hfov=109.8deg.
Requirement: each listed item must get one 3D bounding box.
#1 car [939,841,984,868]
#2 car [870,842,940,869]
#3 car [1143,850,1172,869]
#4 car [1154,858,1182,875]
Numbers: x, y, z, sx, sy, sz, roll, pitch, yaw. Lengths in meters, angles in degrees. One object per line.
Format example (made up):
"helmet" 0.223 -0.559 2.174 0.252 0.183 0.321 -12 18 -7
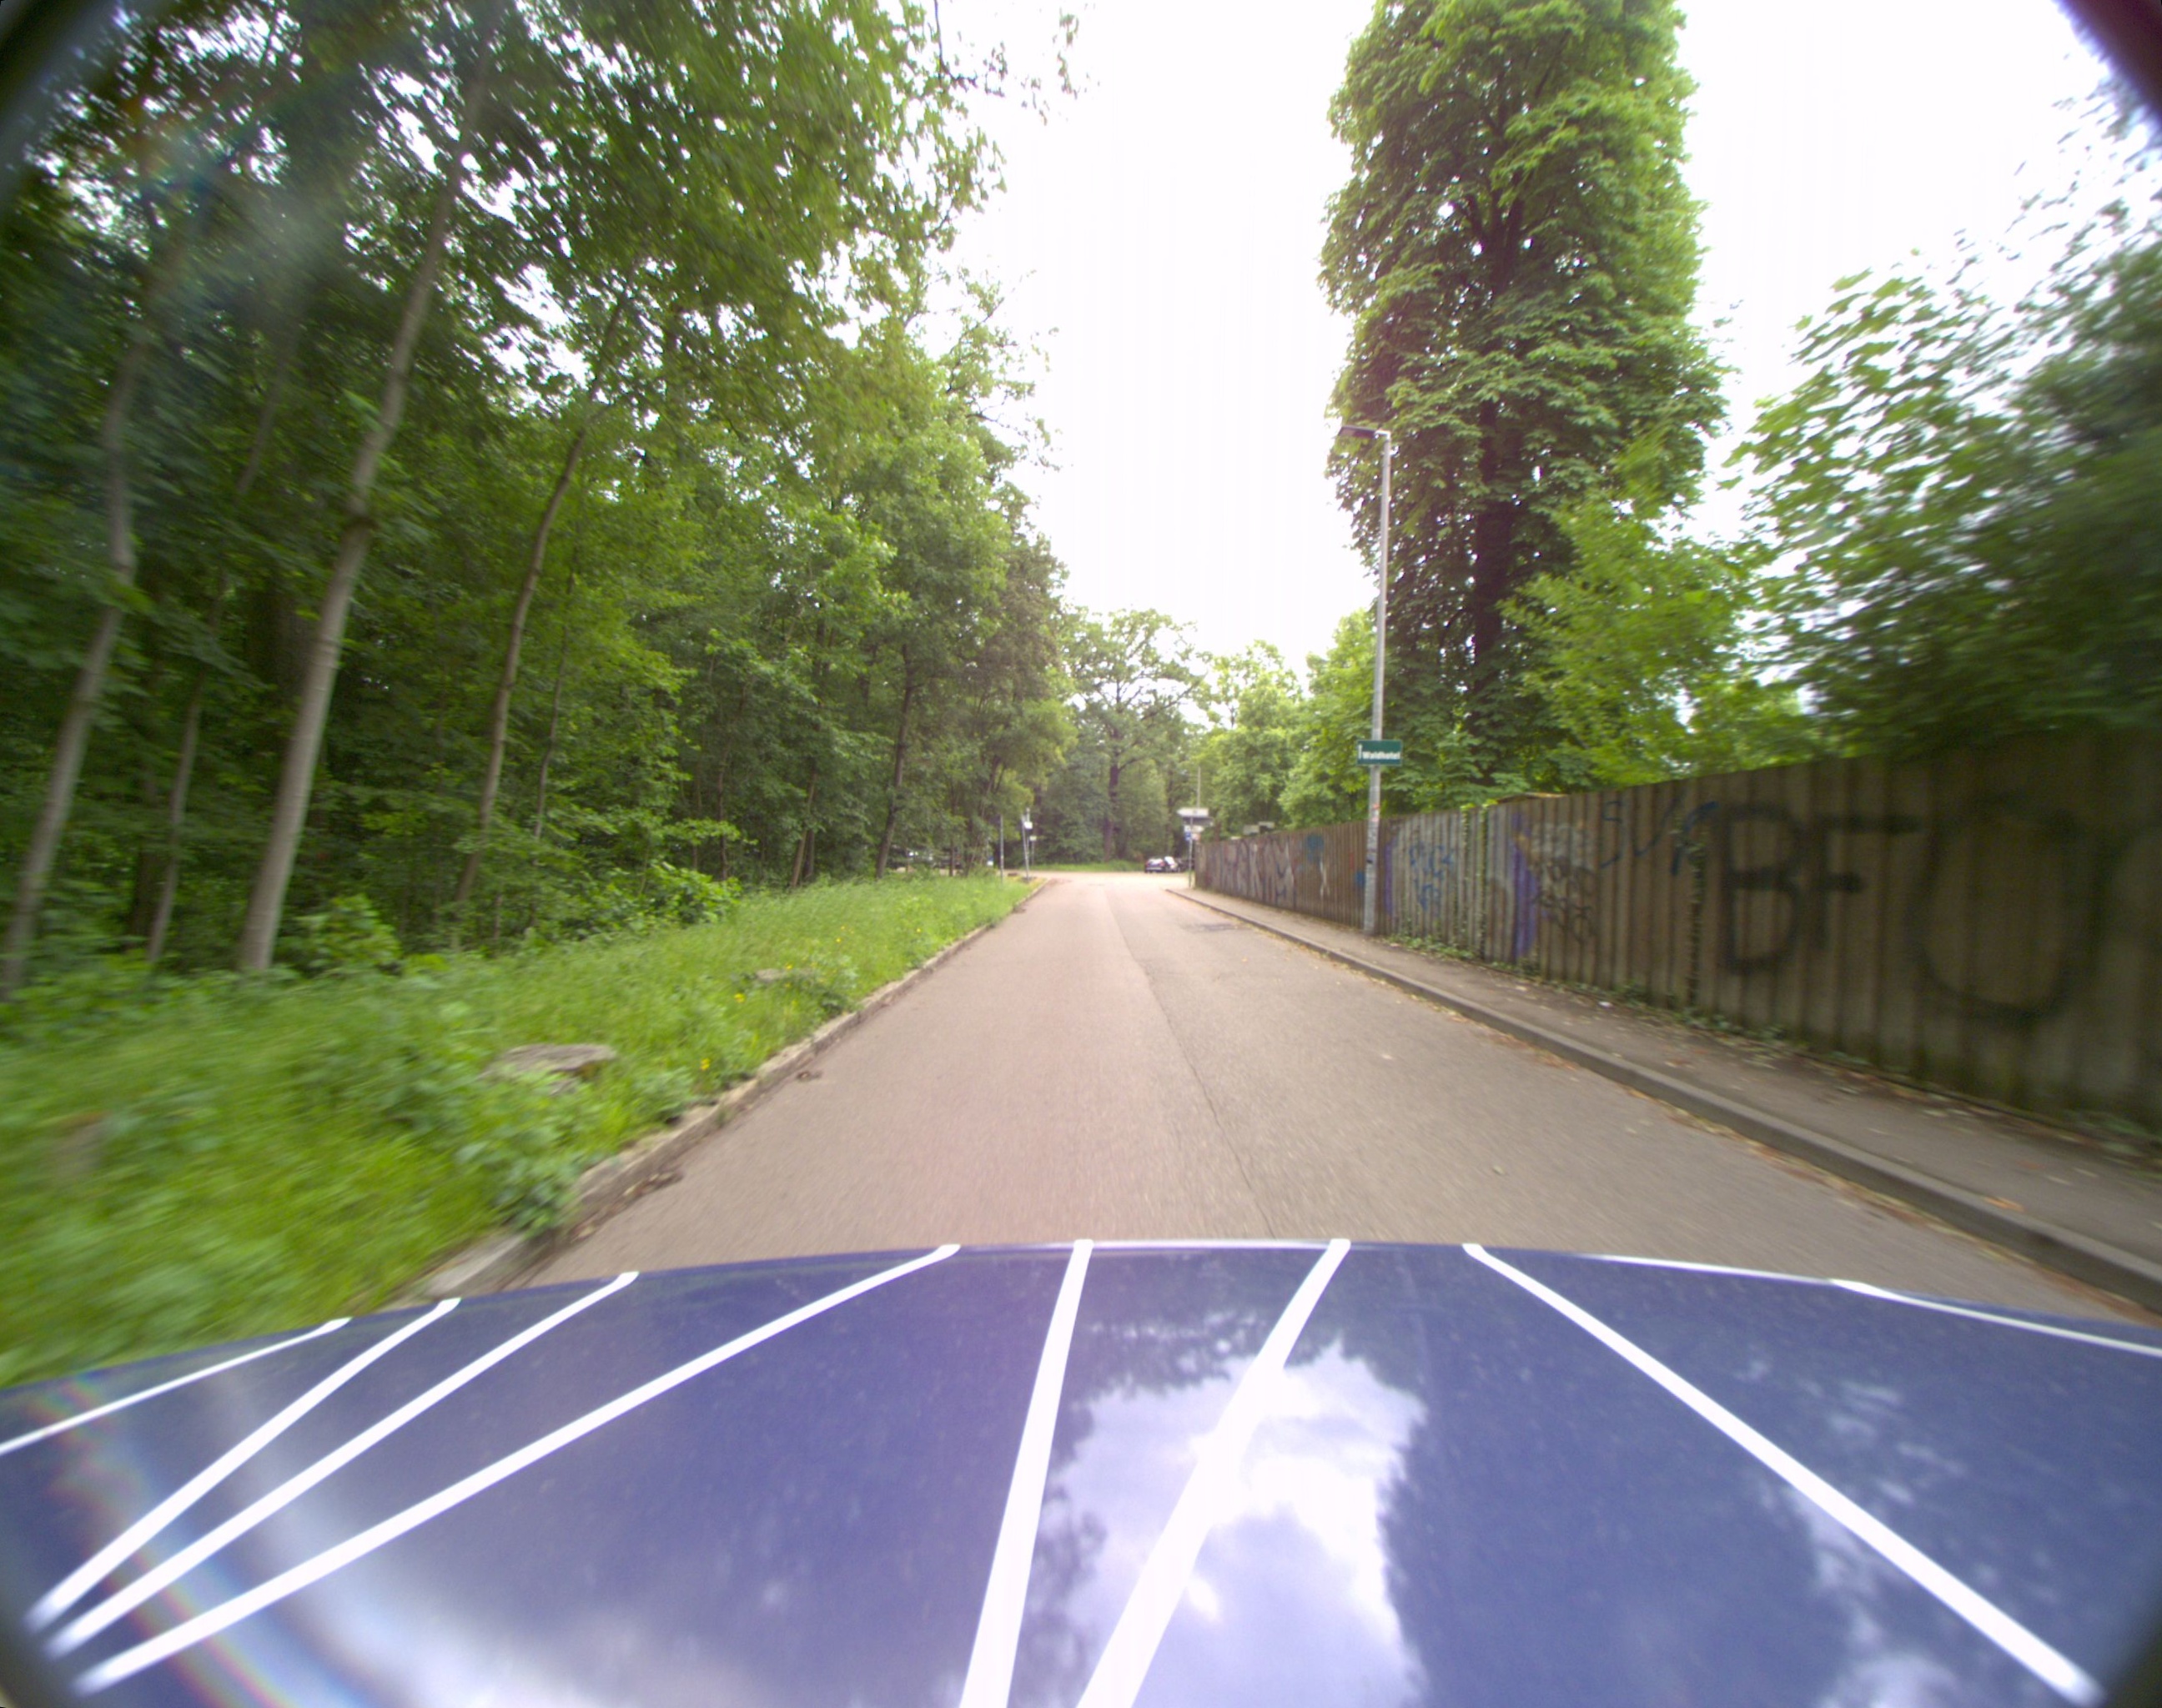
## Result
"car" -9.220 0.044 59.041 1.887 1.966 4.522 1 0 13
"car" -11.599 0.063 50.071 4.092 1.624 1.817 2 2 11
"car" 6.299 0.417 62.406 1.769 1.486 4.331 1 0 13
"car" 7.697 1.109 67.168 1.996 1.411 4.005 0 -1 13
